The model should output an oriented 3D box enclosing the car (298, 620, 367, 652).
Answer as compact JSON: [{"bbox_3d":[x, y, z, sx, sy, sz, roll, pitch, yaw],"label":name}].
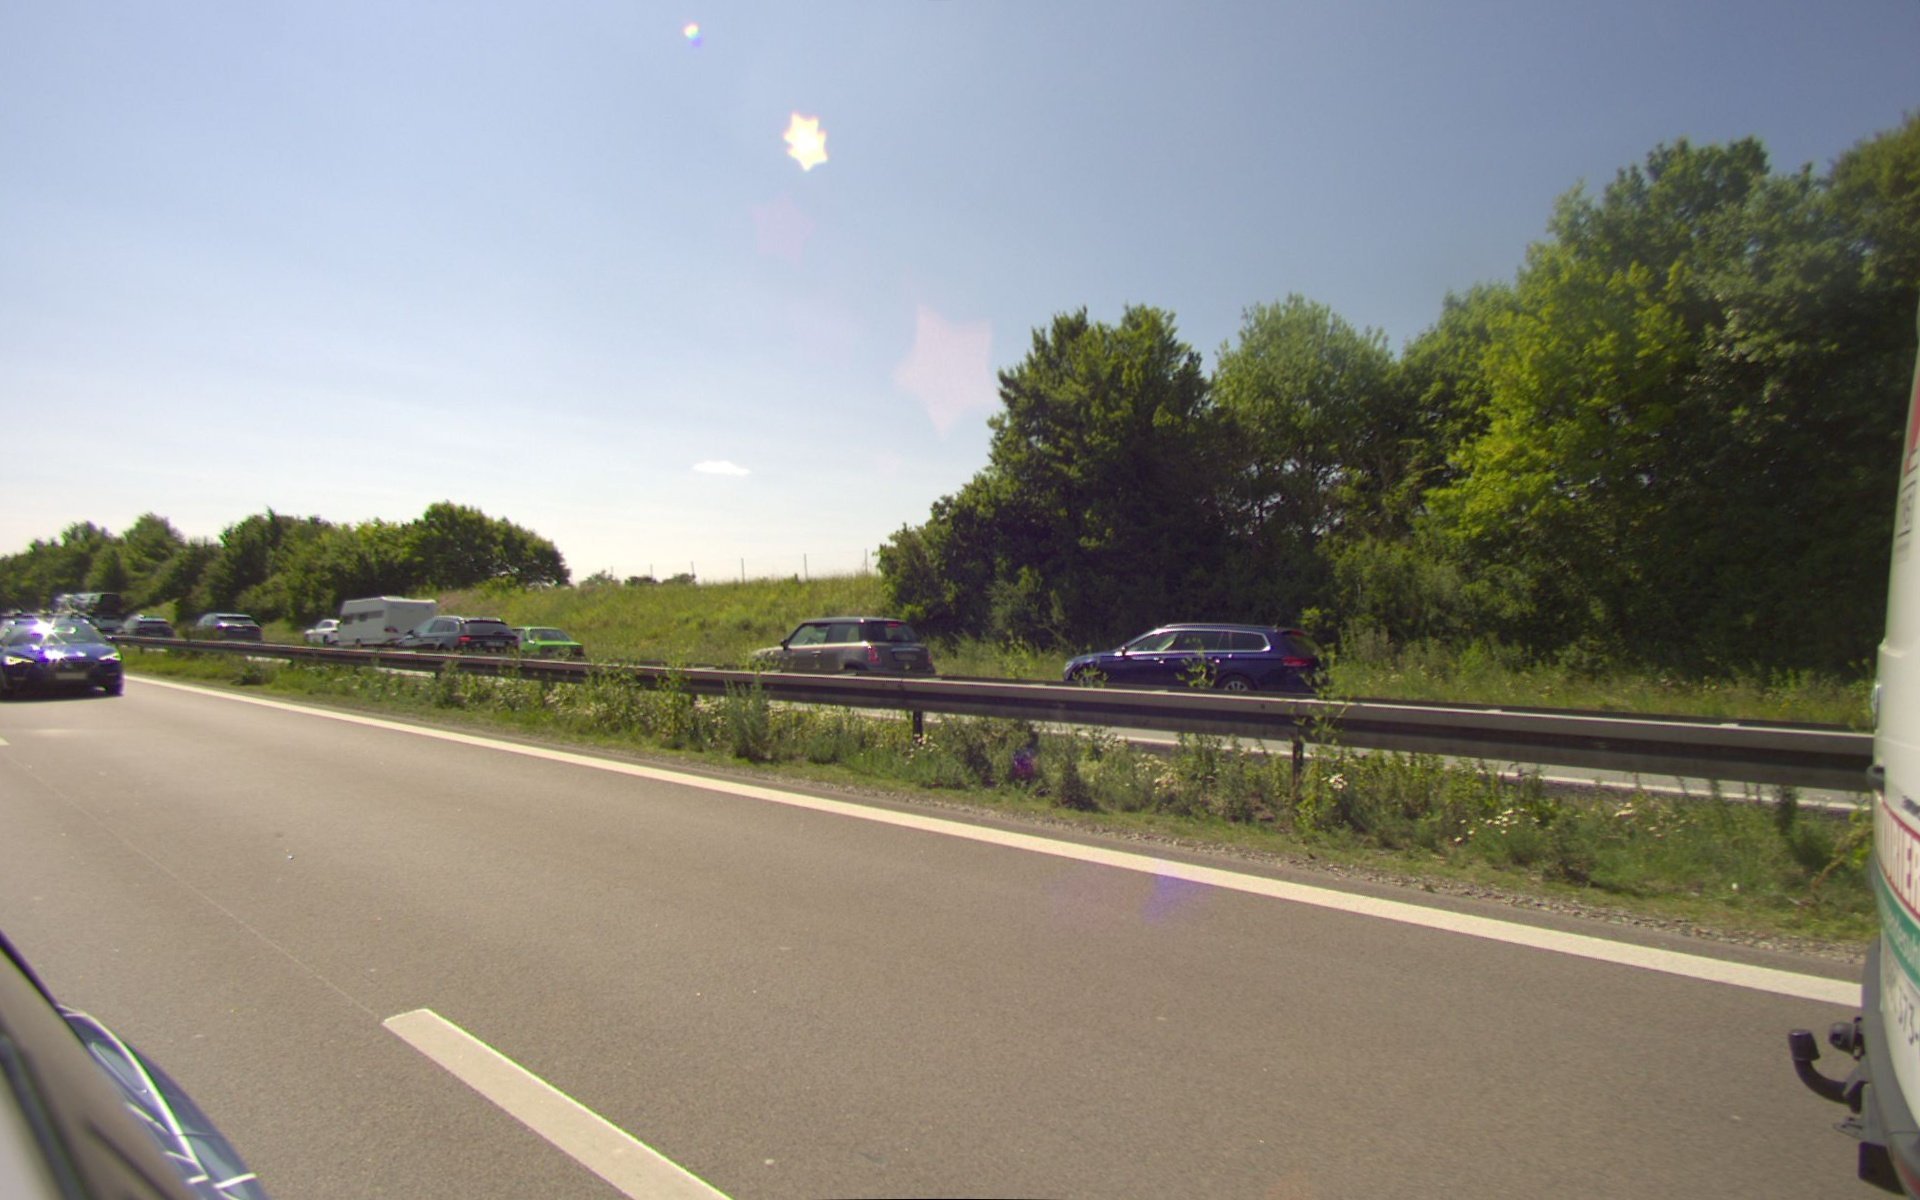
[{"bbox_3d":[-33.877,1.913,54.561,4.807,1.619,1.827,-1,-2,41],"label":"car"}]

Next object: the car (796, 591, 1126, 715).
[{"bbox_3d":[-0.137,0.751,15.625,5.087,1.617,1.972,-1,-2,42],"label":"car"}]

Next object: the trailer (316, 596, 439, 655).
[{"bbox_3d":[-29.515,1.281,51.123,8.625,2.708,2.703,-1,-2,41],"label":"trailer"}]

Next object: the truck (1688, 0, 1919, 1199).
[{"bbox_3d":[4.359,0.086,0.176,6.689,2.561,1.972,-1,0,42],"label":"truck"}]

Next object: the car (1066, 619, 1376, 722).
[{"bbox_3d":[4.251,1.069,16.940,4.657,1.407,1.973,0,-1,41],"label":"car"}]

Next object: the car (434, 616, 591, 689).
[{"bbox_3d":[-11.116,1.233,24.999,4.420,1.586,1.830,0,-1,41],"label":"car"}]

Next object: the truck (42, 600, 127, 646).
[{"bbox_3d":[-83.600,2.247,96.465,16.656,4.081,3.180,-1,-3,39],"label":"truck"}]

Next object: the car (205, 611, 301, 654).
[{"bbox_3d":[-27.036,1.237,38.661,4.614,1.528,1.892,-1,-2,41],"label":"car"}]

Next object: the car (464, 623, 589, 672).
[{"bbox_3d":[-13.784,1.452,32.036,4.801,1.438,1.726,-1,-2,41],"label":"car"}]

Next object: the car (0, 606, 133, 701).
[{"bbox_3d":[-17.544,0.961,19.463,4.238,1.638,1.880,-1,-1,41],"label":"car"}]

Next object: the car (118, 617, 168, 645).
[{"bbox_3d":[-55.306,2.107,68.488,4.378,1.823,1.795,-1,-2,40],"label":"car"}]

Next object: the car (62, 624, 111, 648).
[{"bbox_3d":[-52.662,2.163,60.994,3.998,1.401,1.698,-1,-2,41],"label":"car"}]

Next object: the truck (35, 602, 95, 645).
[{"bbox_3d":[-89.806,2.372,101.520,7.387,4.081,3.208,-1,-3,39],"label":"truck"}]

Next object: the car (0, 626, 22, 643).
[{"bbox_3d":[-97.436,3.500,103.232,4.577,1.626,1.973,-1,-2,40],"label":"car"}]

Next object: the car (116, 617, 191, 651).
[{"bbox_3d":[-37.910,1.563,47.548,4.614,1.528,1.892,-1,-2,41],"label":"car"}]
